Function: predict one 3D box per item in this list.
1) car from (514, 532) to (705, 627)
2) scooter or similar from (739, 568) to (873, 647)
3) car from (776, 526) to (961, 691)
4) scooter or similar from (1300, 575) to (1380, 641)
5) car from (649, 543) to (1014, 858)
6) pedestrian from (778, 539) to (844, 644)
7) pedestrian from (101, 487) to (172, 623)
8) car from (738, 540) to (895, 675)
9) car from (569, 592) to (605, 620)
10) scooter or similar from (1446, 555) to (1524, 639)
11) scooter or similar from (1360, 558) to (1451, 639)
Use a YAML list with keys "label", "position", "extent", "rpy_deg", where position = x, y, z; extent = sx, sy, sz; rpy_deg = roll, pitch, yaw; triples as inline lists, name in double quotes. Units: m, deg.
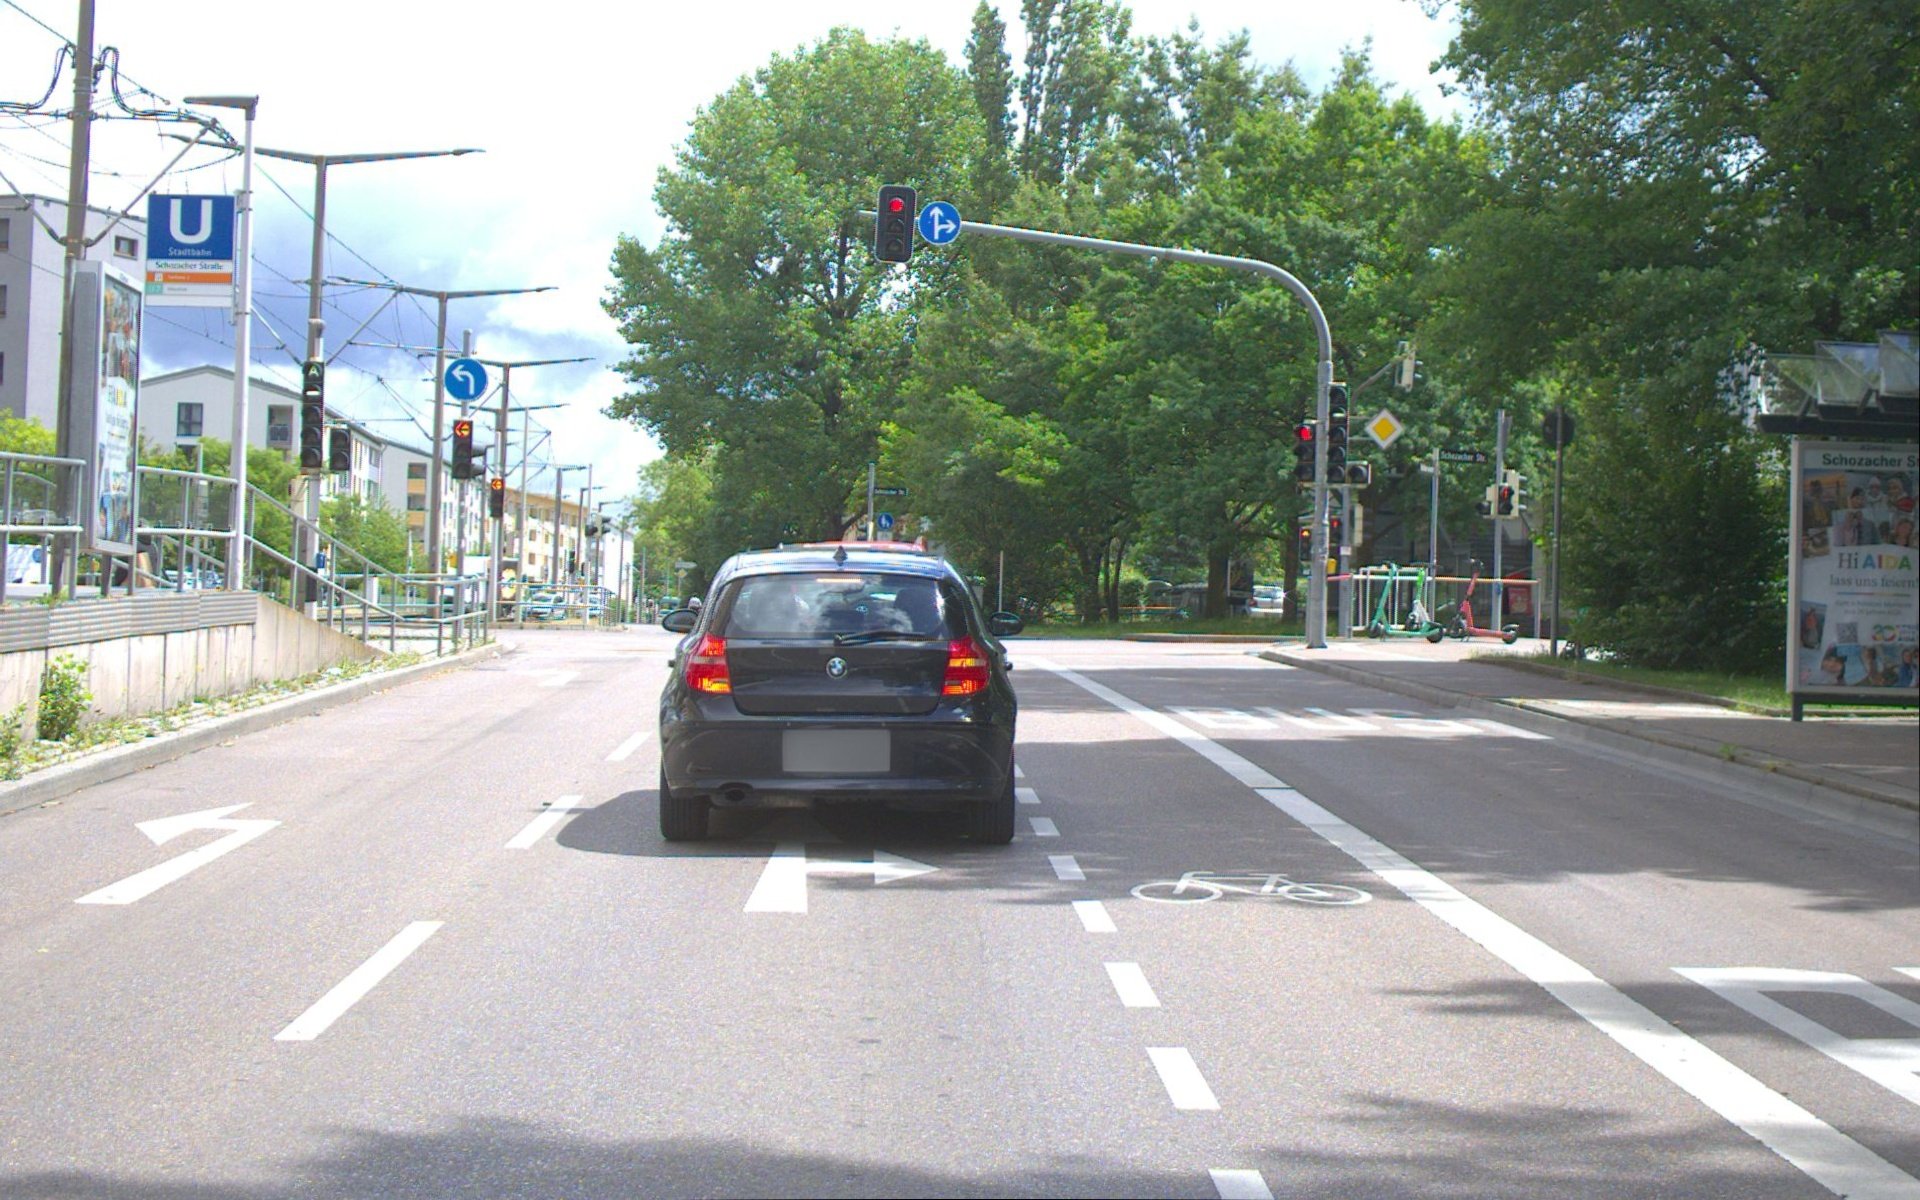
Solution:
- label: "car"
  position: [-7.649, -0.447, 74.984]
  extent: [3.709, 2.007, 1.813]
  rpy_deg: [1, 1, -24]
- label: "scooter or similar"
  position: [-2.101, 0.103, 46.926]
  extent: [1.780, 1.047, 0.410]
  rpy_deg: [0, 1, -14]
- label: "car"
  position: [-0.819, 0.043, 31.757]
  extent: [1.594, 1.414, 3.517]
  rpy_deg: [1, 1, -1]
- label: "scooter or similar"
  position: [5.517, 0.116, 49.954]
  extent: [1.119, 0.954, 0.300]
  rpy_deg: [0, 1, -16]
- label: "car"
  position: [-0.573, 0.432, 17.526]
  extent: [1.654, 1.414, 3.517]
  rpy_deg: [1, 1, 1]
- label: "pedestrian"
  position: [-2.052, -0.120, 47.486]
  extent: [0.865, 1.437, 0.798]
  rpy_deg: [1, 1, 0]
- label: "pedestrian"
  position: [-9.953, -0.544, 41.560]
  extent: [0.701, 1.627, 0.638]
  rpy_deg: [0, 1, 0]
- label: "car"
  position: [-1.611, 0.052, 38.362]
  extent: [1.654, 1.414, 3.517]
  rpy_deg: [1, 1, -3]
- label: "car"
  position: [-22.575, 0.373, 208.136]
  extent: [1.966, 1.590, 4.001]
  rpy_deg: [1, 1, -3]
- label: "scooter or similar"
  position: [7.943, -0.042, 51.984]
  extent: [1.106, 1.253, 0.332]
  rpy_deg: [0, 1, -13]
- label: "scooter or similar"
  position: [6.619, -0.022, 51.084]
  extent: [1.287, 1.185, 0.385]
  rpy_deg: [0, 1, -16]
